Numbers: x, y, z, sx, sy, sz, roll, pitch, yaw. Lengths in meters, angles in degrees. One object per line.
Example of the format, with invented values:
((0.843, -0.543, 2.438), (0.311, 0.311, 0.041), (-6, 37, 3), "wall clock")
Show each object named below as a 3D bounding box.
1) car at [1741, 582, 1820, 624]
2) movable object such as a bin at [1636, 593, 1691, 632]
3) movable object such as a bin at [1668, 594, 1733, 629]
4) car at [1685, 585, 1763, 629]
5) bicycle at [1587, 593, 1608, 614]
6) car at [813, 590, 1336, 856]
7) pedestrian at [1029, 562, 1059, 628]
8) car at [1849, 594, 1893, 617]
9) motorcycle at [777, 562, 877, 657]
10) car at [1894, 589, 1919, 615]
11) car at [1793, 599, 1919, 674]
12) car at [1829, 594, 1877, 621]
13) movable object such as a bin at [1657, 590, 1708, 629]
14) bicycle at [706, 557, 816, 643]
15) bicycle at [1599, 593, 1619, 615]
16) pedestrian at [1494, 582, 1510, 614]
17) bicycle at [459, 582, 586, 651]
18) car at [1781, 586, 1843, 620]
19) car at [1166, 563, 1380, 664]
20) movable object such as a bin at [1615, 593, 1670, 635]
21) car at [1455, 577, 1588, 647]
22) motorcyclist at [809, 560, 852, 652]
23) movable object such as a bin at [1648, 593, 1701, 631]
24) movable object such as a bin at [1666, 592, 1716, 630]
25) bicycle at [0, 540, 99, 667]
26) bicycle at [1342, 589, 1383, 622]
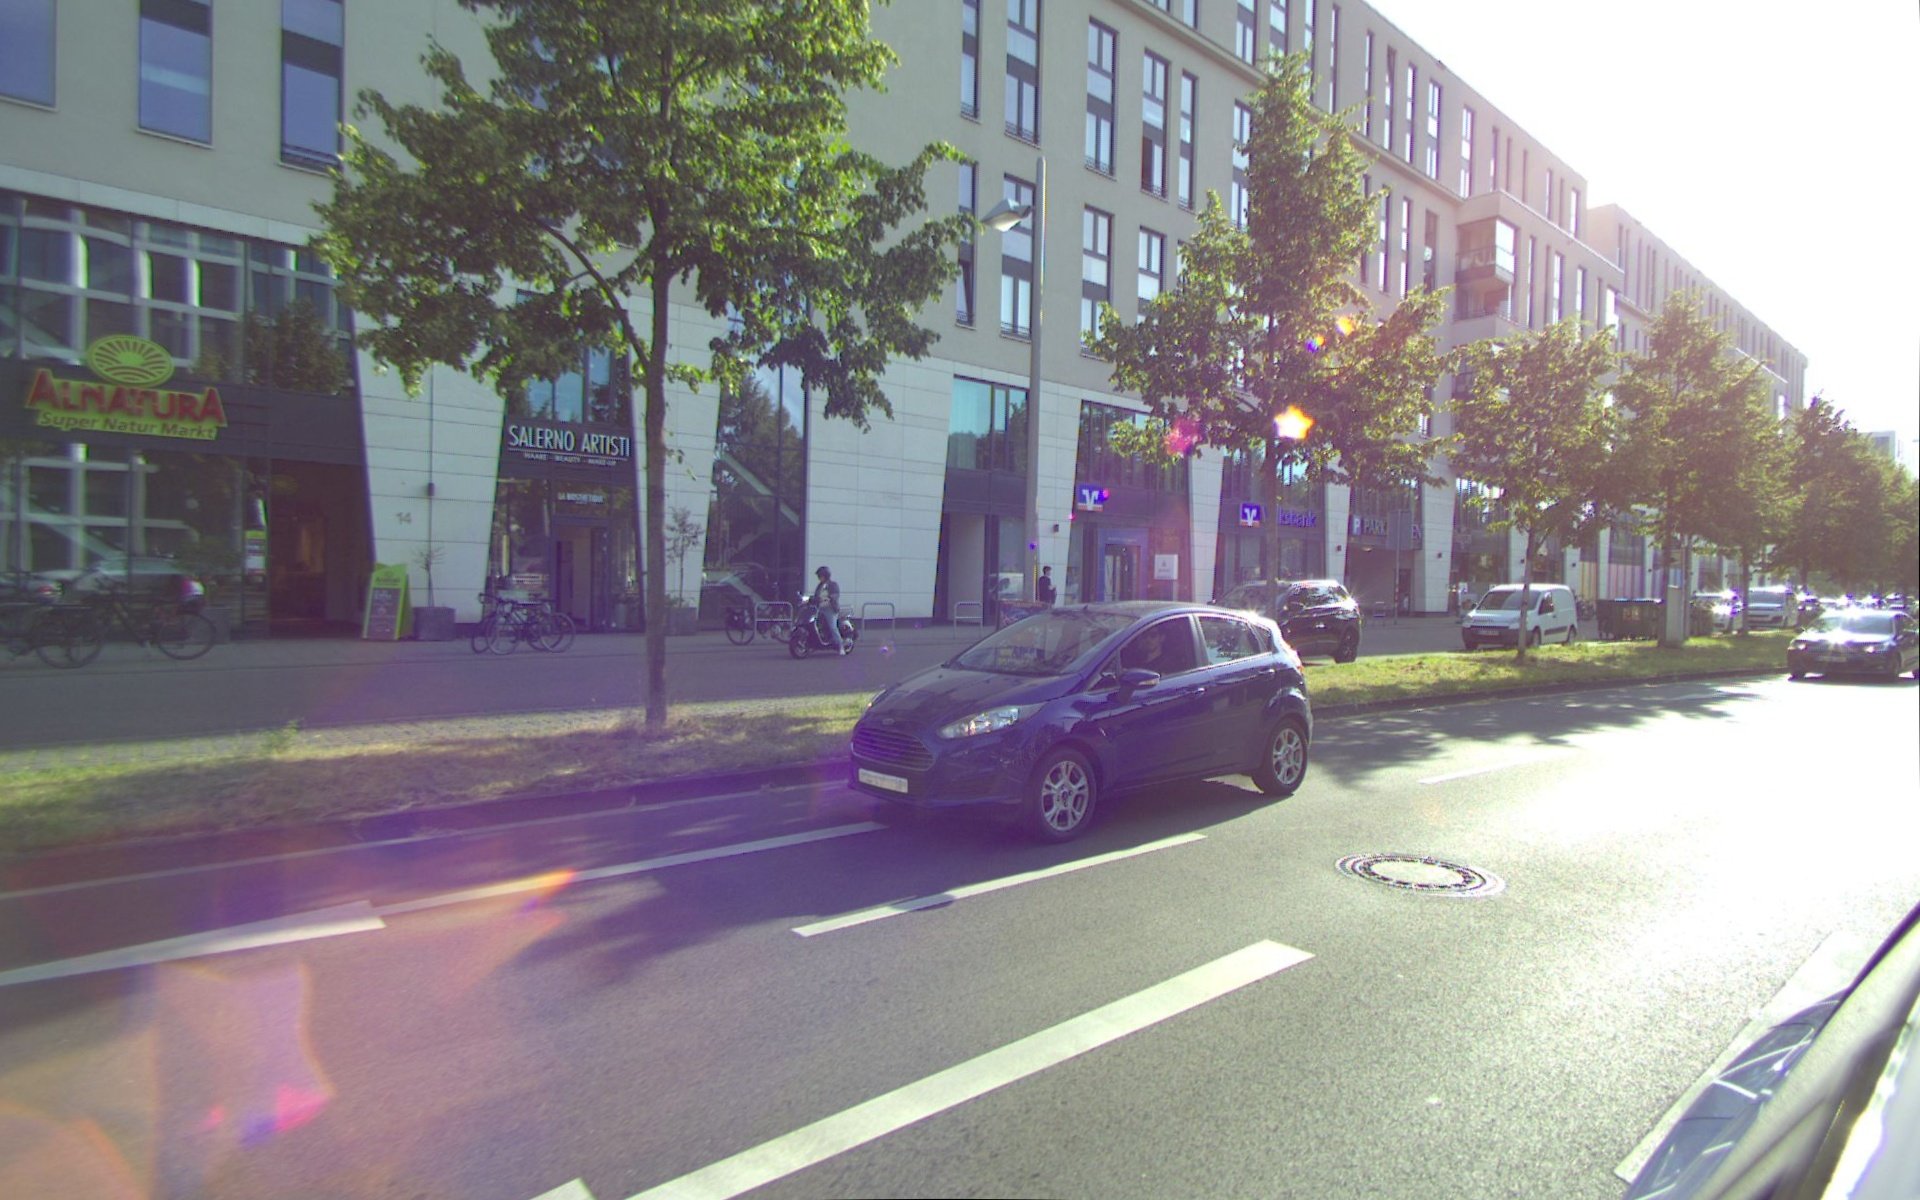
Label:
((38.563, 0.096, 47.511), (4.940, 1.900, 1.842), (-1, 0, -38), "car")
((23.318, 0.407, 33.550), (1.172, 1.252, 1.278), (0, 0, -44), "movable object such as a bin")
((27.267, 0.411, 37.268), (1.307, 1.252, 1.406), (0, 0, -13), "movable object such as a bin")
((31.177, 0.238, 41.227), (4.769, 1.650, 1.732), (0, 2, -43), "car")
((33.594, 0.183, 53.313), (1.711, 1.093, 0.345), (-1, 5, -40), "bicycle")
((0.993, 0.672, 7.336), (3.837, 1.442, 1.563), (0, 0, -40), "car")
((2.332, -0.135, 28.004), (0.635, 1.785, 0.538), (0, 0, -40), "pedestrian")
((60.017, 0.341, 66.639), (4.043, 1.450, 1.731), (-1, 0, -42), "car")
((-2.465, 0.126, 18.930), (0.698, 1.636, 1.989), (5, 5, 32), "motorcycle")
((72.938, 0.136, 77.308), (4.760, 1.898, 1.897), (-1, 0, -41), "car")
((19.748, 0.727, 21.907), (3.963, 1.442, 1.699), (-1, 0, -36), "car")
((49.150, 0.397, 55.681), (4.098, 1.430, 1.617), (-1, 0, -43), "car")
((25.258, 0.325, 35.378), (1.172, 1.334, 1.278), (0, 0, -44), "movable object such as a bin")
((-3.976, -0.019, 20.365), (2.173, 1.639, 0.556), (-1, 0, -40), "bicycle")
((33.981, 0.183, 52.995), (1.702, 1.094, 0.345), (-1, 5, -40), "bicycle")
((26.656, -0.103, 49.795), (0.587, 1.541, 0.514), (0, 0, -41), "pedestrian")
((-7.415, 0.270, 17.195), (1.871, 1.097, 0.635), (0, 2, -40), "bicycle")
((44.019, 0.124, 52.268), (4.262, 1.671, 1.732), (-1, 0, -40), "car")
((6.148, 0.247, 19.596), (4.597, 1.730, 1.899), (1, -1, -42), "car")
((22.247, 0.436, 32.977), (1.159, 1.307, 1.278), (0, 0, -44), "movable object such as a bin")
((15.213, 0.278, 27.359), (4.221, 1.733, 1.830), (-1, 0, -41), "car")
((-2.437, 0.104, 19.009), (0.621, 1.660, 0.413), (4, 3, 33), "motorcyclist")
((24.318, 0.400, 34.445), (1.172, 1.252, 1.278), (0, 0, -44), "movable object such as a bin")
((26.195, 0.382, 36.259), (1.172, 1.318, 1.278), (0, 0, -44), "movable object such as a bin")
((-12.339, 0.045, 12.813), (2.173, 1.587, 0.556), (-1, 0, -40), "bicycle")
((14.301, 0.180, 35.963), (1.911, 1.130, 0.493), (-1, 2, -41), "bicycle")
